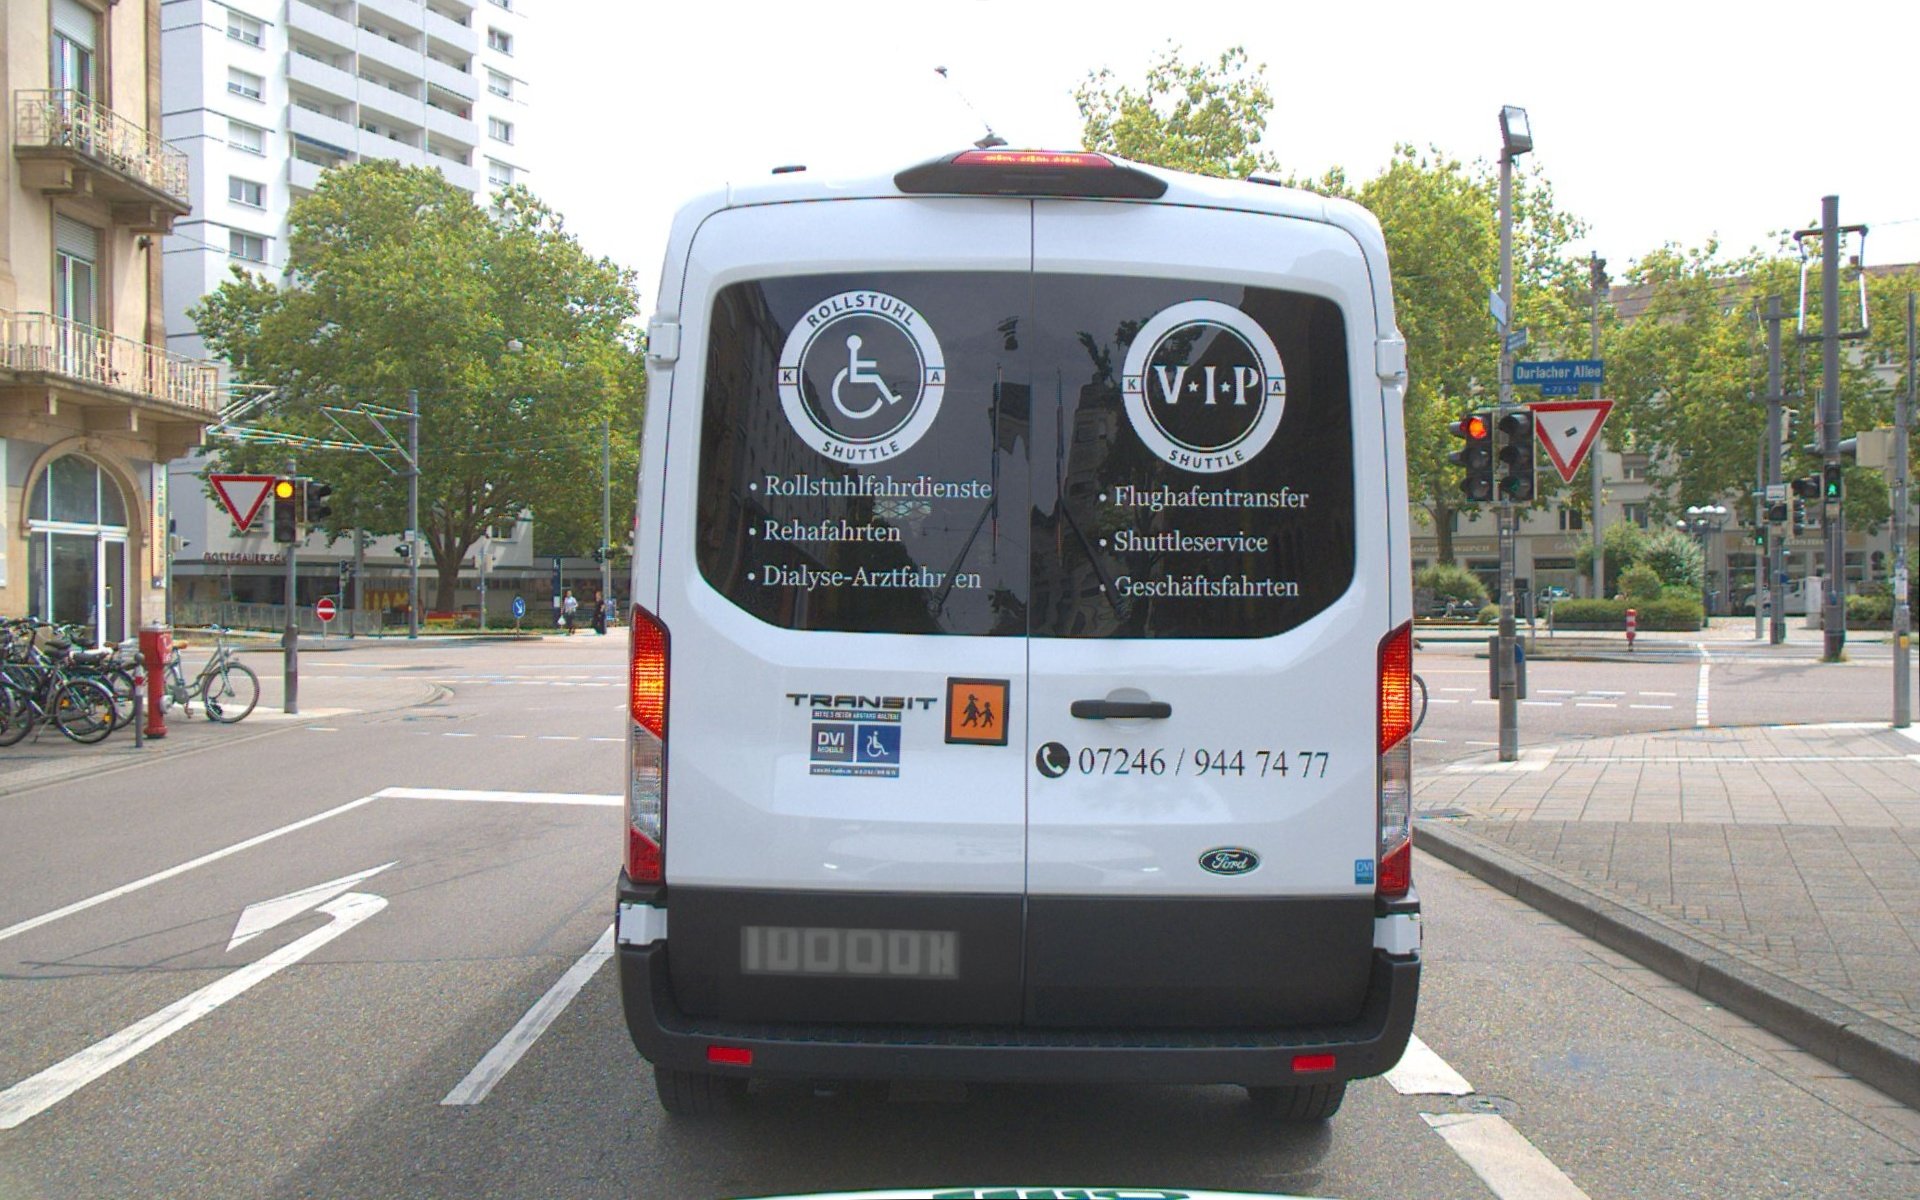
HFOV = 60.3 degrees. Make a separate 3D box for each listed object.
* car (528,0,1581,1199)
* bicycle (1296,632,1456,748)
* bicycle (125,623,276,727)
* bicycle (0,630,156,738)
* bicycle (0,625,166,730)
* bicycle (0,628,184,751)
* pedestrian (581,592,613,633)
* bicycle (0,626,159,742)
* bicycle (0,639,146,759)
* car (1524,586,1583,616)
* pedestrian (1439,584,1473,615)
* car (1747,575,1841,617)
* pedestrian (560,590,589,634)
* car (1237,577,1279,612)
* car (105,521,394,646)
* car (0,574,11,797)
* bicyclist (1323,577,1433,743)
[{"bbox_3d":[0.125,0.085,5.751,2.138,2.694,4.627,1,1,-2],"label":"car"},{"bbox_3d":[4.456,0.926,17.631,0.889,1.094,1.959,0,1,40],"label":"bicycle"},{"bbox_3d":[-9.285,0.899,20.215,1.836,1.187,0.498,2,0,20],"label":"bicycle"},{"bbox_3d":[-10.004,0.925,18.390,1.775,1.140,0.593,2,0,-9],"label":"bicycle"},{"bbox_3d":[-10.217,0.892,19.084,1.775,1.140,0.593,2,0,-9],"label":"bicycle"},{"bbox_3d":[-9.047,0.910,17.055,1.771,1.140,0.594,3,0,3],"label":"bicycle"},{"bbox_3d":[-13.578,0.467,61.818,0.913,1.541,0.721,0,0,33],"label":"pedestrian"},{"bbox_3d":[-9.674,0.898,17.783,1.775,1.186,0.593,2,0,-9],"label":"bicycle"},{"bbox_3d":[-9.084,0.977,16.383,1.771,1.140,0.594,-1,0,6],"label":"bicycle"},{"bbox_3d":[31.759,0.031,88.670,1.951,1.529,4.002,-1,0,4],"label":"car"},{"bbox_3d":[21.211,-0.016,70.734,1.068,1.257,1.441,-2,-1,4],"label":"pedestrian"},{"bbox_3d":[39.874,-0.197,79.194,3.907,1.916,1.857,-1,0,24],"label":"car"},{"bbox_3d":[-14.276,0.430,61.262,0.790,1.600,0.723,0,0,22],"label":"pedestrian"},{"bbox_3d":[17.133,-0.344,95.287,1.951,1.964,4.002,-1,0,4],"label":"car"},{"bbox_3d":[-24.321,-0.528,56.530,9.686,3.984,3.454,0,0,24],"label":"car"},{"bbox_3d":[-9.785,0.710,12.835,3.974,1.804,1.771,-1,1,-40],"label":"car"},{"bbox_3d":[4.457,0.618,17.641,0.890,1.713,0.752,0,0,42],"label":"bicyclist"}]
